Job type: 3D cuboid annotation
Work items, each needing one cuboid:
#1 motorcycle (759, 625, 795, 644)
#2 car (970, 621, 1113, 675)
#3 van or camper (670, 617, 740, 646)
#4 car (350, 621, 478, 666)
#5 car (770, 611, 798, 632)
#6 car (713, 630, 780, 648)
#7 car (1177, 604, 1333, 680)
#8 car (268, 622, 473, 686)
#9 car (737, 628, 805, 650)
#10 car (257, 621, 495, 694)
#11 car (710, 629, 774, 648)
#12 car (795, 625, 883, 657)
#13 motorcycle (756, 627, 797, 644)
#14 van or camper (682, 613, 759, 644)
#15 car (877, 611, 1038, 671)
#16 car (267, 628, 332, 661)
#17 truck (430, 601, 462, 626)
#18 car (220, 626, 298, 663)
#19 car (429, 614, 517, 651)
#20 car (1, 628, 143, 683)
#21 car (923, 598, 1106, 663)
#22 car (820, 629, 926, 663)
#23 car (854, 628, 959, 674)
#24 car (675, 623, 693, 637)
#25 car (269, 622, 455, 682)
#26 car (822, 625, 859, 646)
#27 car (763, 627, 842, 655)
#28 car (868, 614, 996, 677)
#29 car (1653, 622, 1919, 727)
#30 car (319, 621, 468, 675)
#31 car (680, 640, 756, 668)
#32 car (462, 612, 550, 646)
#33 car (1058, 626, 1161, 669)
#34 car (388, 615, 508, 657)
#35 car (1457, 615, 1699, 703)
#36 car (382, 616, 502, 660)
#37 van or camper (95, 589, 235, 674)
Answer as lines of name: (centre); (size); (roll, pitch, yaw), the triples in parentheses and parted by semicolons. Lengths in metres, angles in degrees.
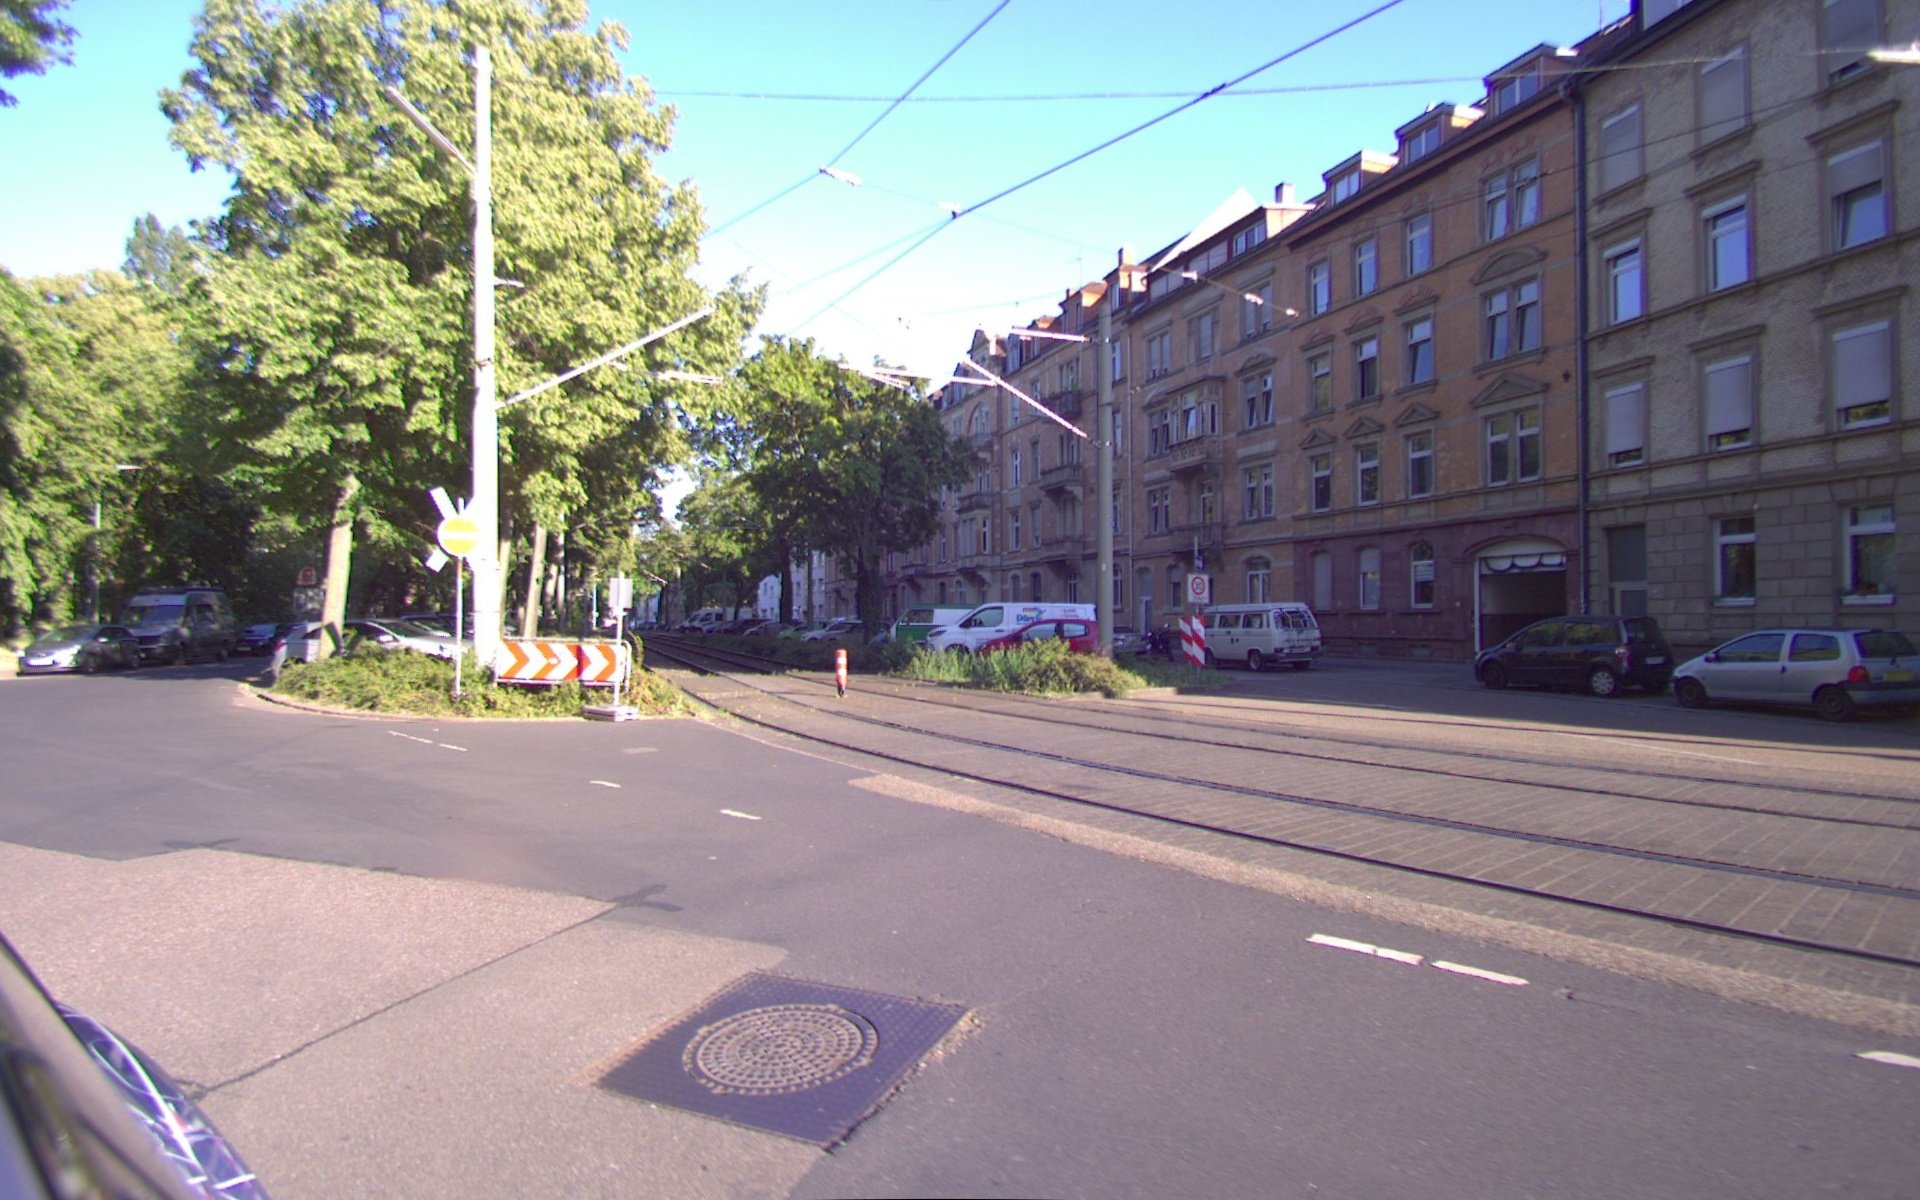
motorcycle: (-9.772, 1.853, 54.144); (1.703, 0.962, 1.020); (0, -2, 1)
car: (2.077, 1.222, 26.255); (3.586, 1.339, 1.714); (0, -2, 4)
van or camper: (-22.413, 2.774, 89.116); (5.605, 2.487, 1.997); (1, -2, 5)
car: (-20.352, 1.623, 37.825); (3.824, 1.450, 1.828); (-3, -1, 6)
car: (-17.067, 2.099, 98.043); (1.965, 2.029, 4.013); (0, -1, -22)
car: (-14.494, 2.629, 68.763); (4.155, 1.176, 1.496); (0, -2, 8)
car: (8.983, 1.295, 31.344); (1.825, 2.079, 5.016); (-2, -2, -22)
car: (-14.366, 1.287, 24.850); (3.979, 1.416, 1.776); (-1, -1, -4)
car: (-11.698, 2.425, 62.786); (3.944, 1.327, 1.593); (0, -2, 1)
car: (-12.807, 1.245, 22.379); (4.231, 1.440, 1.775); (-1, -1, -2)
car: (-15.399, 2.723, 71.479); (4.141, 1.320, 1.631); (0, -2, 9)
car: (-5.483, 1.868, 46.119); (3.692, 1.391, 1.724); (0, -2, 6)
motorcycle: (-10.100, 1.944, 55.662); (1.960, 0.896, 1.015); (0, -2, 17)
van or camper: (-19.135, 2.293, 80.983); (5.487, 2.389, 2.302); (1, -2, 8)
car: (-0.030, 1.270, 31.529); (4.780, 1.778, 2.079); (0, -2, 8)
car: (-33.085, 2.205, 50.807); (1.657, 1.537, 4.300); (0, -2, -19)
truck: (-51.440, 1.428, 101.371); (2.263, 2.404, 6.956); (0, -2, -22)
car: (-31.066, 1.938, 45.002); (1.657, 1.537, 4.503); (0, -2, -19)
car: (-26.508, 1.769, 55.115); (4.126, 1.795, 1.873); (-3, -1, 18)
car: (-26.315, 1.598, 30.141); (1.657, 1.457, 3.883); (-2, -1, -16)
car: (1.517, 0.865, 28.665); (4.991, 1.778, 2.083); (0, -2, 2)
car: (-3.671, 1.931, 42.988); (4.244, 1.391, 1.588); (0, -2, 12)
car: (-1.935, 1.864, 37.394); (3.611, 1.652, 1.655); (0, -2, 10)
car: (-42.874, 4.647, 157.127); (1.965, 2.029, 4.013); (1, -2, -25)
car: (-16.063, 1.370, 27.318); (3.926, 1.375, 1.776); (-3, -1, -3)
car: (-9.307, 2.763, 78.691); (1.825, 1.542, 4.037); (3, -3, -22)
car: (-7.970, 2.080, 51.356); (3.693, 1.391, 1.704); (0, -2, 7)
car: (-0.911, 1.516, 34.196); (3.959, 2.029, 1.992); (0, -2, 12)
car: (13.640, 1.140, 16.449); (1.826, 1.440, 3.504); (-2, -2, -14)
car: (-18.138, 1.526, 32.474); (3.839, 1.505, 1.828); (-3, -1, 8)
car: (-14.297, 3.176, 59.972); (3.951, 1.590, 1.996); (0, -2, 6)
car: (-32.433, 2.074, 72.350); (5.454, 2.153, 2.074); (-3, -1, 10)
car: (5.725, 1.804, 39.416); (1.824, 1.553, 4.787); (1, -2, -22)
car: (-24.892, 1.728, 49.268); (4.945, 1.795, 1.982); (-3, -1, 9)
car: (12.629, 1.186, 20.978); (1.825, 1.575, 3.884); (-2, -2, -22)
car: (-22.407, 1.622, 43.822); (4.309, 1.638, 1.936); (-3, -1, 9)
van or camper: (-28.225, 1.120, 36.203); (2.055, 2.783, 5.863); (0, -2, -19)
